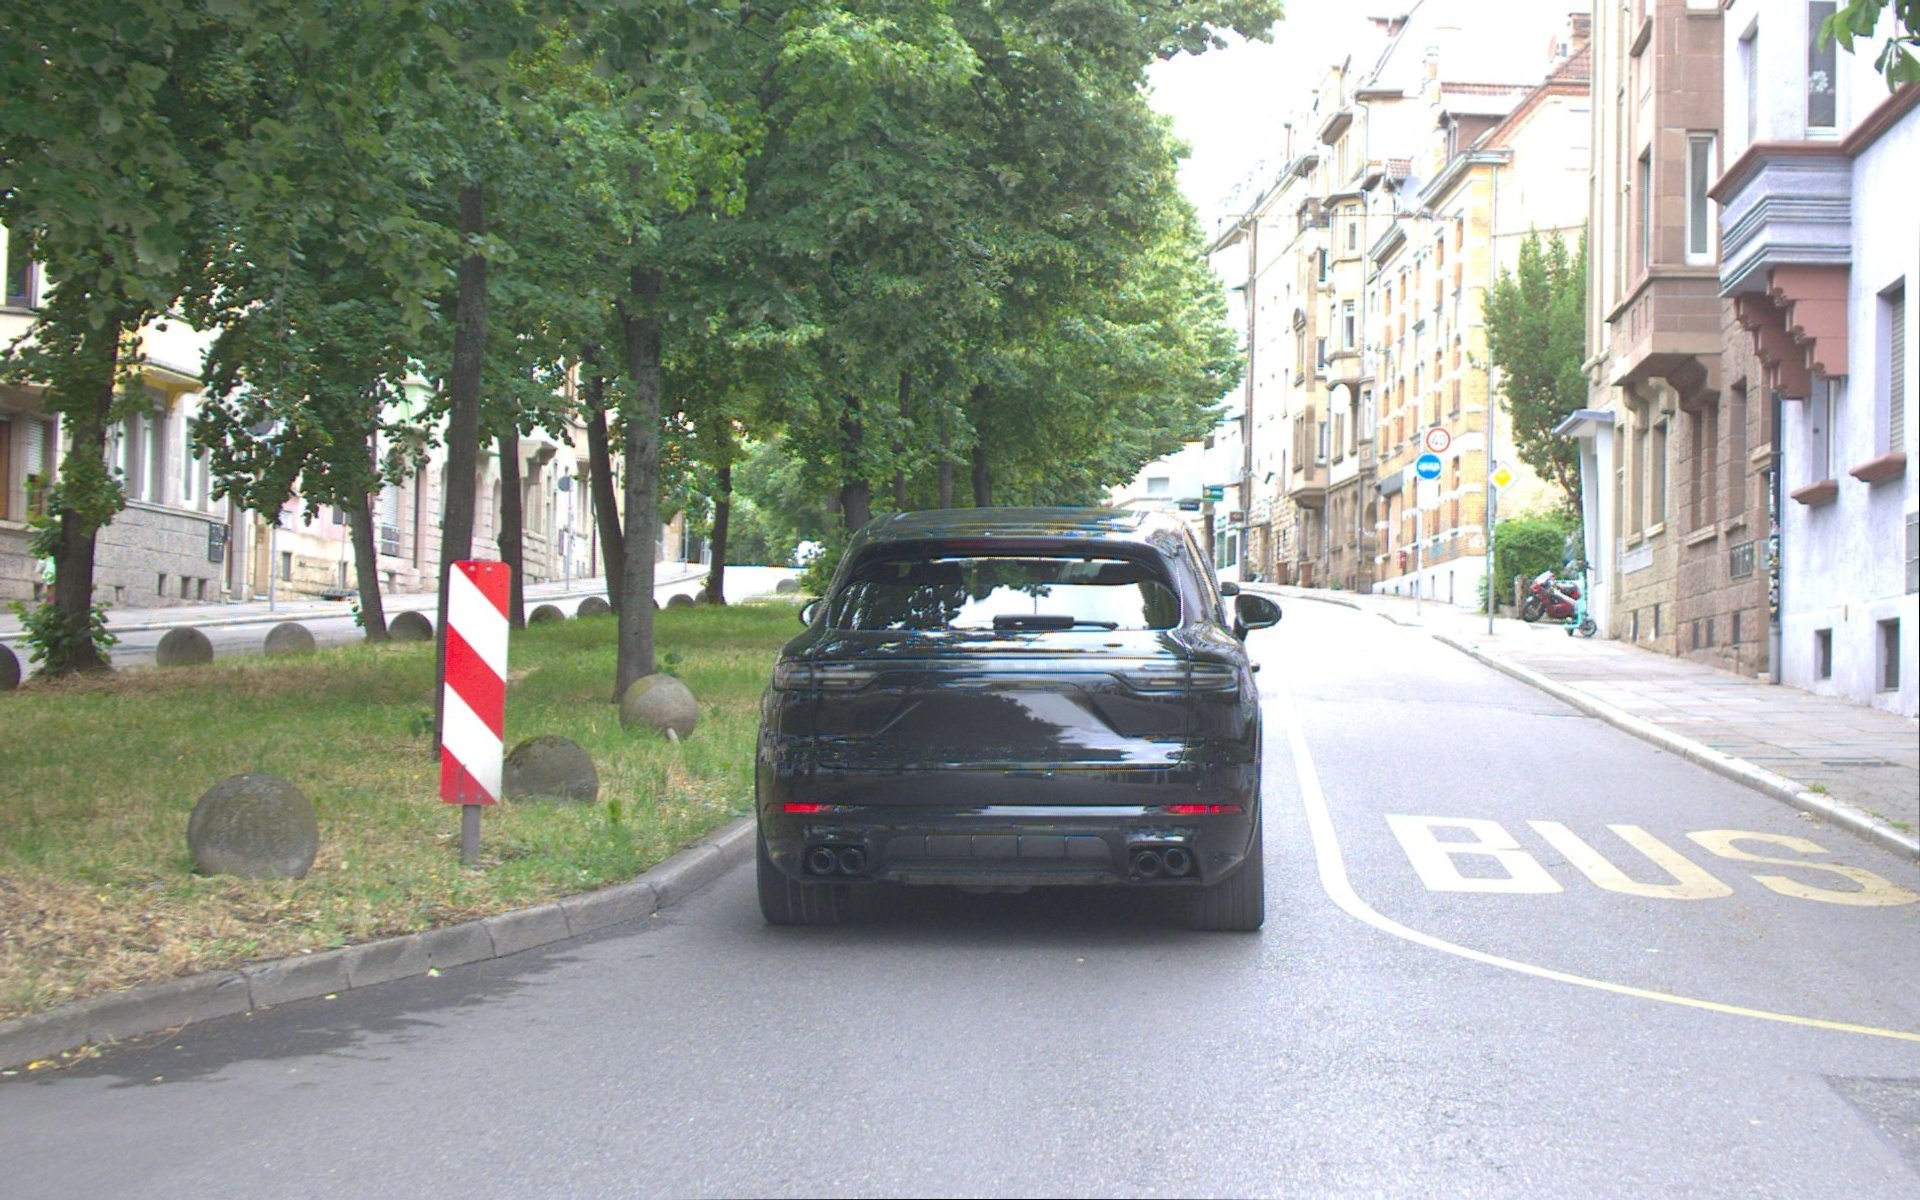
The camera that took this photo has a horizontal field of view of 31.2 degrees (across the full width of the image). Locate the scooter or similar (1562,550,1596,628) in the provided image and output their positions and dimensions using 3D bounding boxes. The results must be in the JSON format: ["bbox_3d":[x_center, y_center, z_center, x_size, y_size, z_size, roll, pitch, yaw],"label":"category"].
[{"bbox_3d":[10.072,-0.185,55.973,0.410,1.206,1.145,-1,3,4],"label":"scooter or similar"}]

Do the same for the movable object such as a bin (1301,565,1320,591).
[{"bbox_3d":[12.780,-0.797,125.279,0.594,0.901,0.563,2,0,0],"label":"movable object such as a bin"}]

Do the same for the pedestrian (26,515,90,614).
[{"bbox_3d":[-13.606,-0.536,51.847,0.699,1.455,0.704,2,1,5],"label":"pedestrian"}]

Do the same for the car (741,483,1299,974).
[{"bbox_3d":[0.299,0.397,14.450,1.994,1.659,4.000,1,3,3],"label":"car"}]

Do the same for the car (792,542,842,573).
[{"bbox_3d":[-6.613,-1.981,159.518,1.709,1.377,4.668,0,1,5],"label":"car"}]

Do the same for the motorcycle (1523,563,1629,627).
[{"bbox_3d":[13.267,-0.116,74.118,2.055,1.263,1.010,3,1,0],"label":"motorcycle"}]

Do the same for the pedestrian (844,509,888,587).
[{"bbox_3d":[-2.142,-1.188,78.330,0.833,1.706,1.122,-2,-2,4],"label":"pedestrian"}]

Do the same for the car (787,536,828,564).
[{"bbox_3d":[-7.913,-2.618,178.352,1.708,1.377,4.289,0,1,3],"label":"car"}]

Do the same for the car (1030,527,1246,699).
[{"bbox_3d":[1.723,0.132,32.346,1.764,1.460,3.591,2,0,6],"label":"car"}]

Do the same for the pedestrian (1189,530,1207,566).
[{"bbox_3d":[11.355,-2.486,164.299,0.751,1.687,0.858,1,-1,-1],"label":"pedestrian"}]
